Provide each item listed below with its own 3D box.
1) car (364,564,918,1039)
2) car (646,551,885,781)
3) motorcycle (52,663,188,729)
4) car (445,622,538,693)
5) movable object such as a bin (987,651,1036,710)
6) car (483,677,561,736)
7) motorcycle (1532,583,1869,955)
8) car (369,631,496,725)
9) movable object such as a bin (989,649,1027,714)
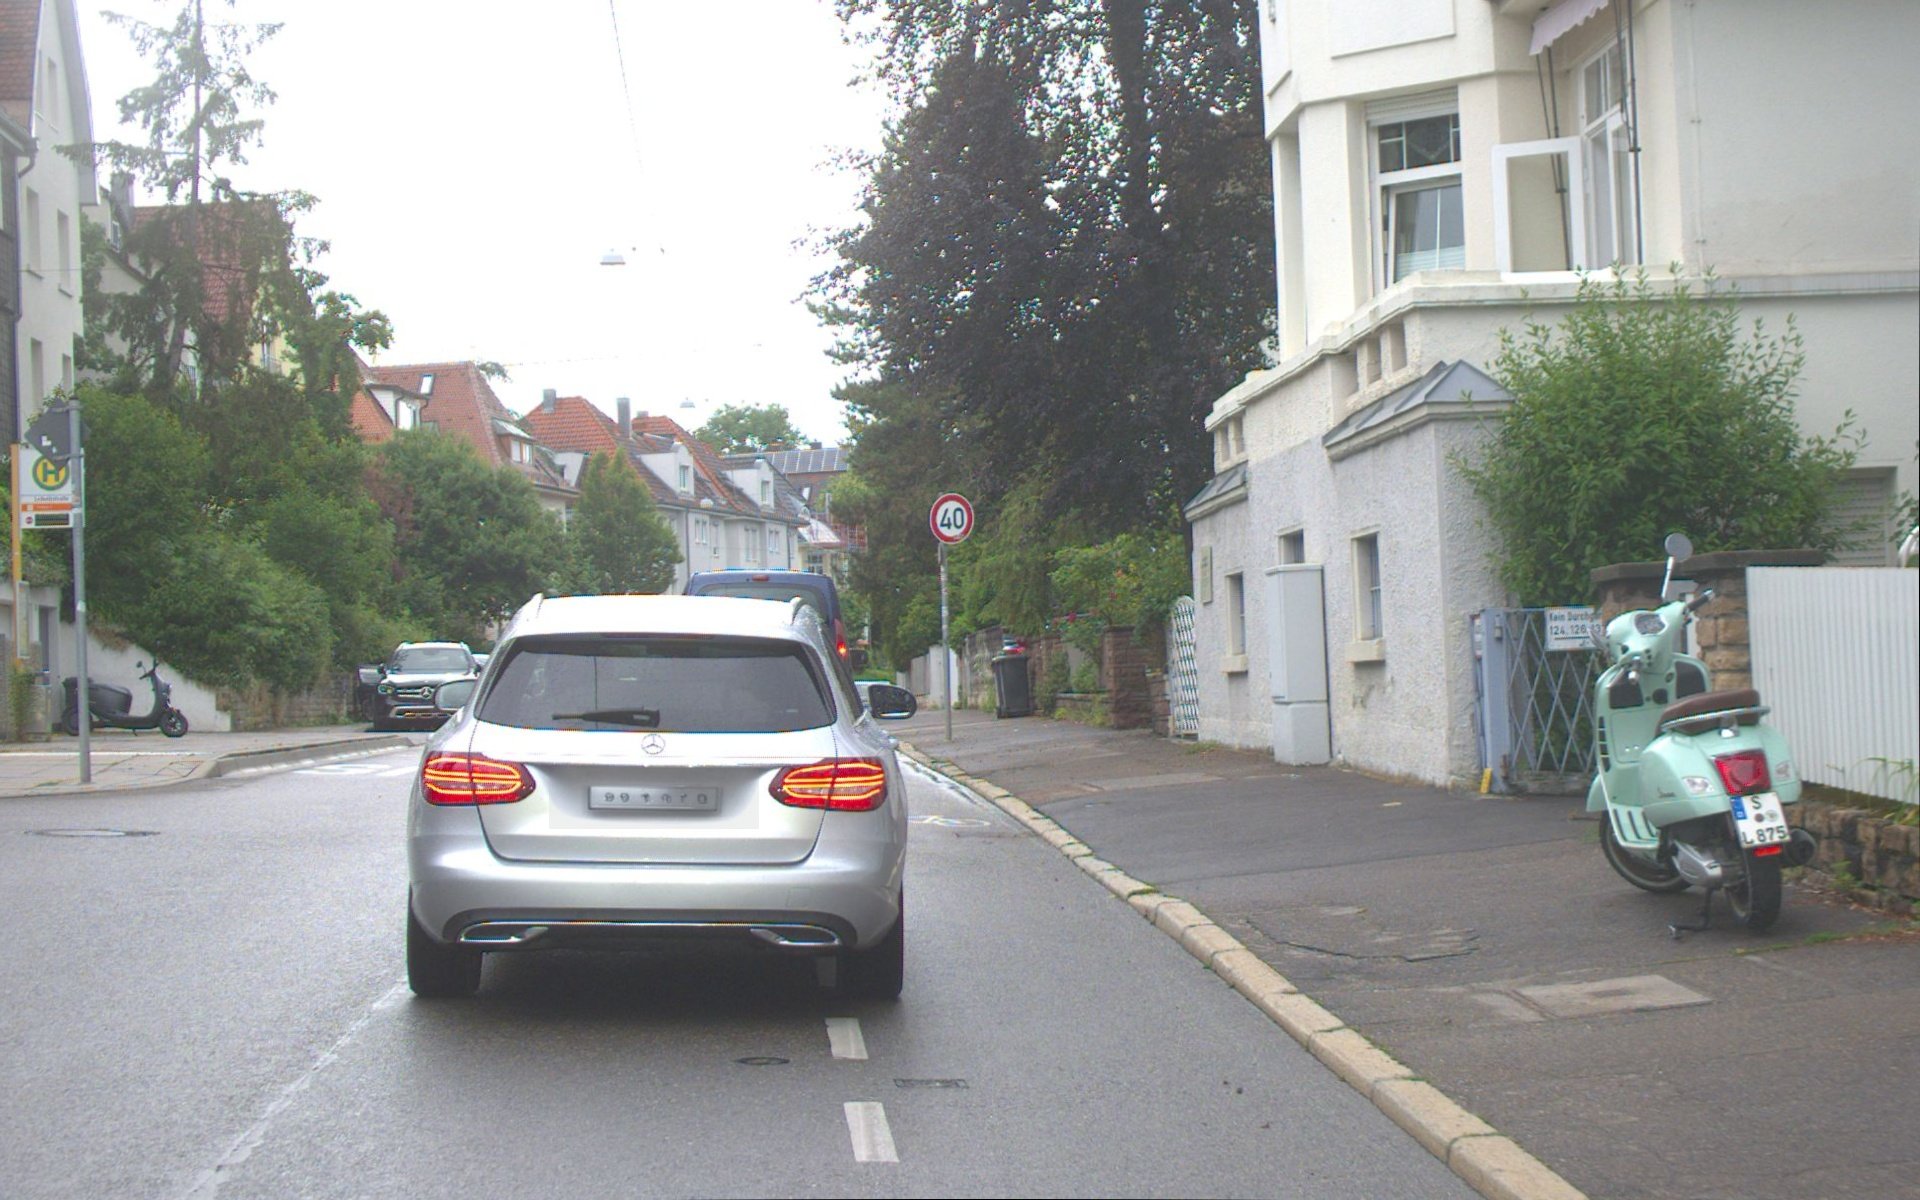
[{"bbox_3d":[-1.155,0.657,13.300,1.816,1.551,4.000,0,0,-3],"label":"car"},{"bbox_3d":[-1.665,0.624,30.597,1.843,1.897,3.999,0,-2,1],"label":"car"},{"bbox_3d":[-12.087,1.384,49.492,1.794,0.900,0.603,1,-2,-4],"label":"motorcycle"},{"bbox_3d":[-10.361,1.254,76.230,1.755,1.442,4.417,-1,0,-4],"label":"car"},{"bbox_3d":[0.758,1.183,50.525,0.651,0.853,0.503,-1,0,-5],"label":"movable object such as a bin"},{"bbox_3d":[-11.185,2.728,87.964,1.694,1.442,3.814,-1,-2,-3],"label":"car"},{"bbox_3d":[2.771,0.586,13.116,0.693,1.222,2.153,-7,0,1],"label":"motorcycle"},{"bbox_3d":[-9.425,1.396,61.712,1.893,1.617,4.379,-1,-1,-4],"label":"car"},{"bbox_3d":[0.715,1.214,51.177,0.494,0.952,0.503,-1,0,-5],"label":"movable object such as a bin"}]
